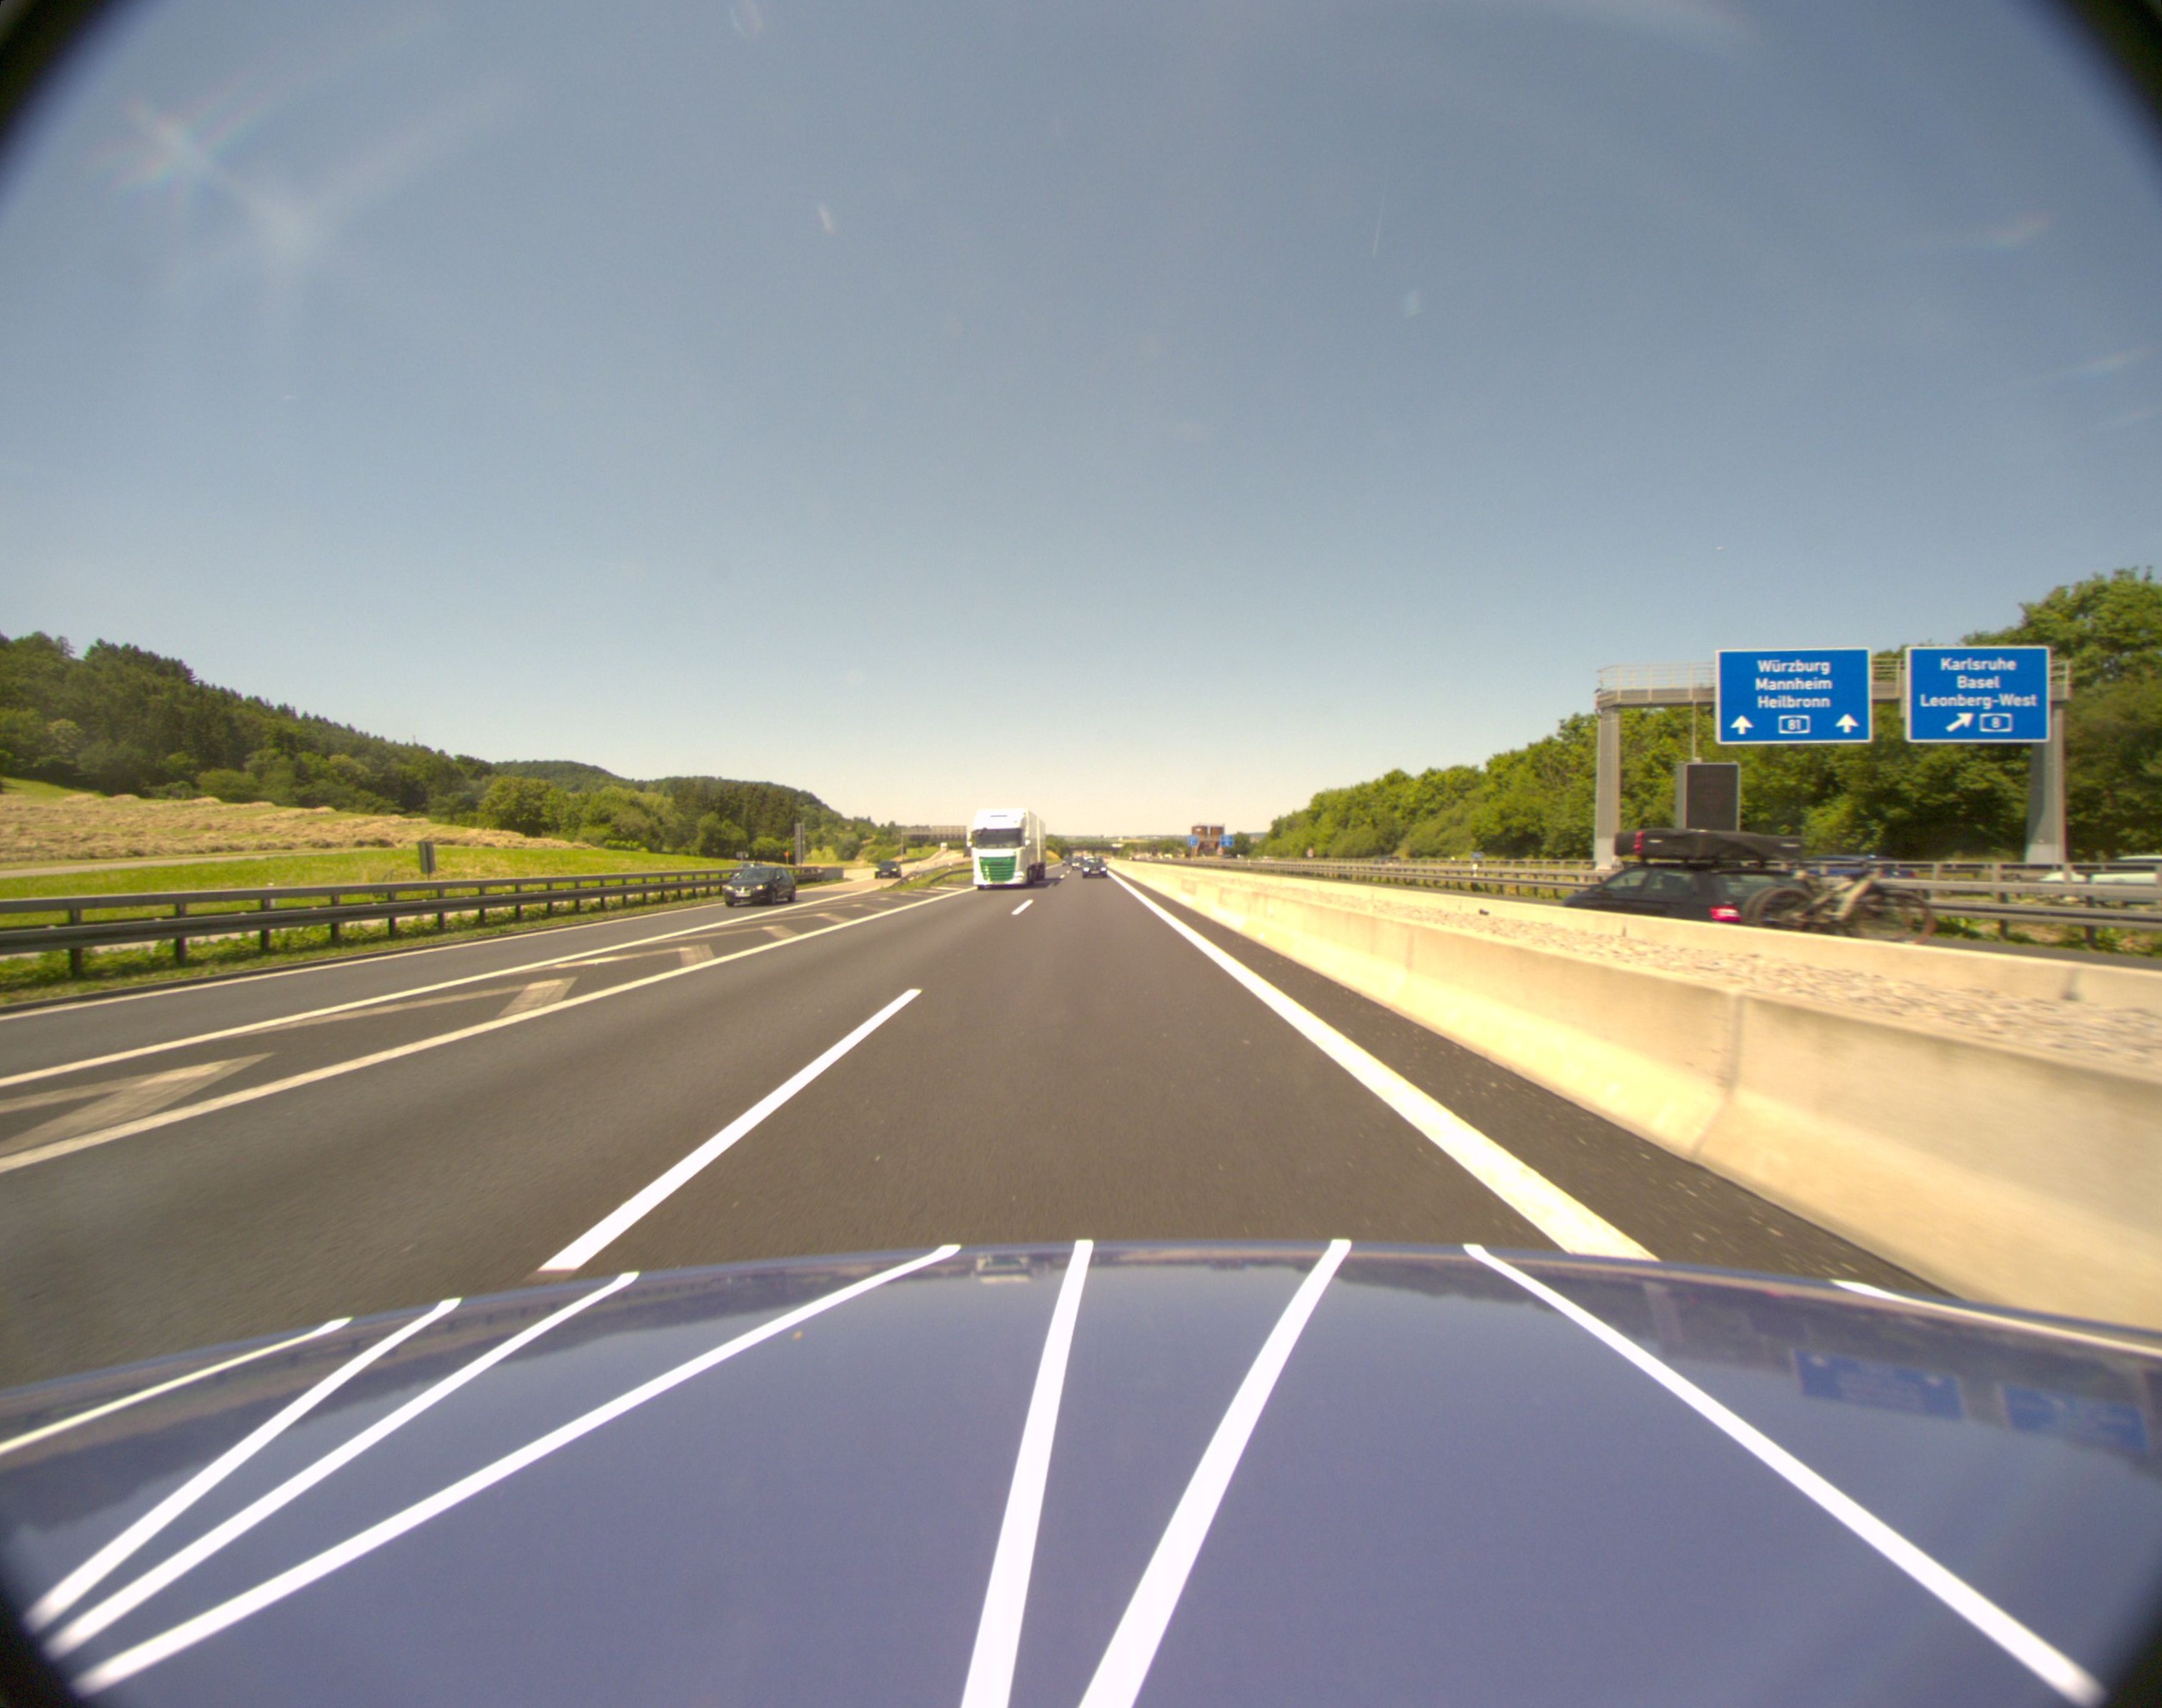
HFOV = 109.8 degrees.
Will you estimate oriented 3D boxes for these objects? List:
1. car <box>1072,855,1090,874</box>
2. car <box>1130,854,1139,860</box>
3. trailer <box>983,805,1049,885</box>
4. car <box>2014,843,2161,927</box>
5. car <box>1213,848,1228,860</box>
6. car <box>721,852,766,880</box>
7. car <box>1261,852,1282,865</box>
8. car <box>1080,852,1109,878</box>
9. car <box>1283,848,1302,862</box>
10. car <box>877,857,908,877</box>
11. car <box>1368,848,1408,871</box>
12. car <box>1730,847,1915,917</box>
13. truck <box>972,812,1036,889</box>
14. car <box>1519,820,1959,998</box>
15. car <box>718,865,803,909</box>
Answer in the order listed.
[{"bbox_3d":[0.031,1.197,86.987,1.998,2.002,3.999,-2,1,1],"label":"car"},{"bbox_3d":[14.989,0.756,212.887,1.839,1.525,4.158,-3,1,-2],"label":"car"},{"bbox_3d":[-3.767,-0.498,47.993,2.663,4.164,14.893,-2,0,0],"label":"trailer"},{"bbox_3d":[27.896,0.757,19.914,1.998,2.002,4.000,-2,1,1],"label":"car"},{"bbox_3d":[24.677,0.000,134.524,1.951,2.002,4.764,-2,1,3],"label":"car"},{"bbox_3d":[-25.625,0.895,57.832,2.000,2.002,3.997,0,0,-8],"label":"car"},{"bbox_3d":[29.805,0.673,118.814,1.951,2.002,4.762,-2,1,-2],"label":"car"},{"bbox_3d":[0.853,0.712,50.553,1.799,1.574,3.999,-2,1,0],"label":"car"},{"bbox_3d":[32.475,0.082,116.794,1.951,2.002,4.021,-2,1,3],"label":"car"},{"bbox_3d":[-15.145,1.029,61.200,1.892,1.464,3.864,-2,1,-7],"label":"car"},{"bbox_3d":[28.600,0.447,70.890,1.998,2.002,3.999,-2,1,0],"label":"car"},{"bbox_3d":[23.875,0.821,24.705,1.999,2.002,3.998,-2,1,-2],"label":"car"},{"bbox_3d":[-3.774,-0.194,38.328,2.649,3.572,4.403,-2,1,0],"label":"truck"},{"bbox_3d":[8.962,0.606,11.252,1.923,2.002,5.346,0,0,1],"label":"car"},{"bbox_3d":[-11.921,1.175,28.497,1.782,1.392,3.759,-2,1,-4],"label":"car"}]
